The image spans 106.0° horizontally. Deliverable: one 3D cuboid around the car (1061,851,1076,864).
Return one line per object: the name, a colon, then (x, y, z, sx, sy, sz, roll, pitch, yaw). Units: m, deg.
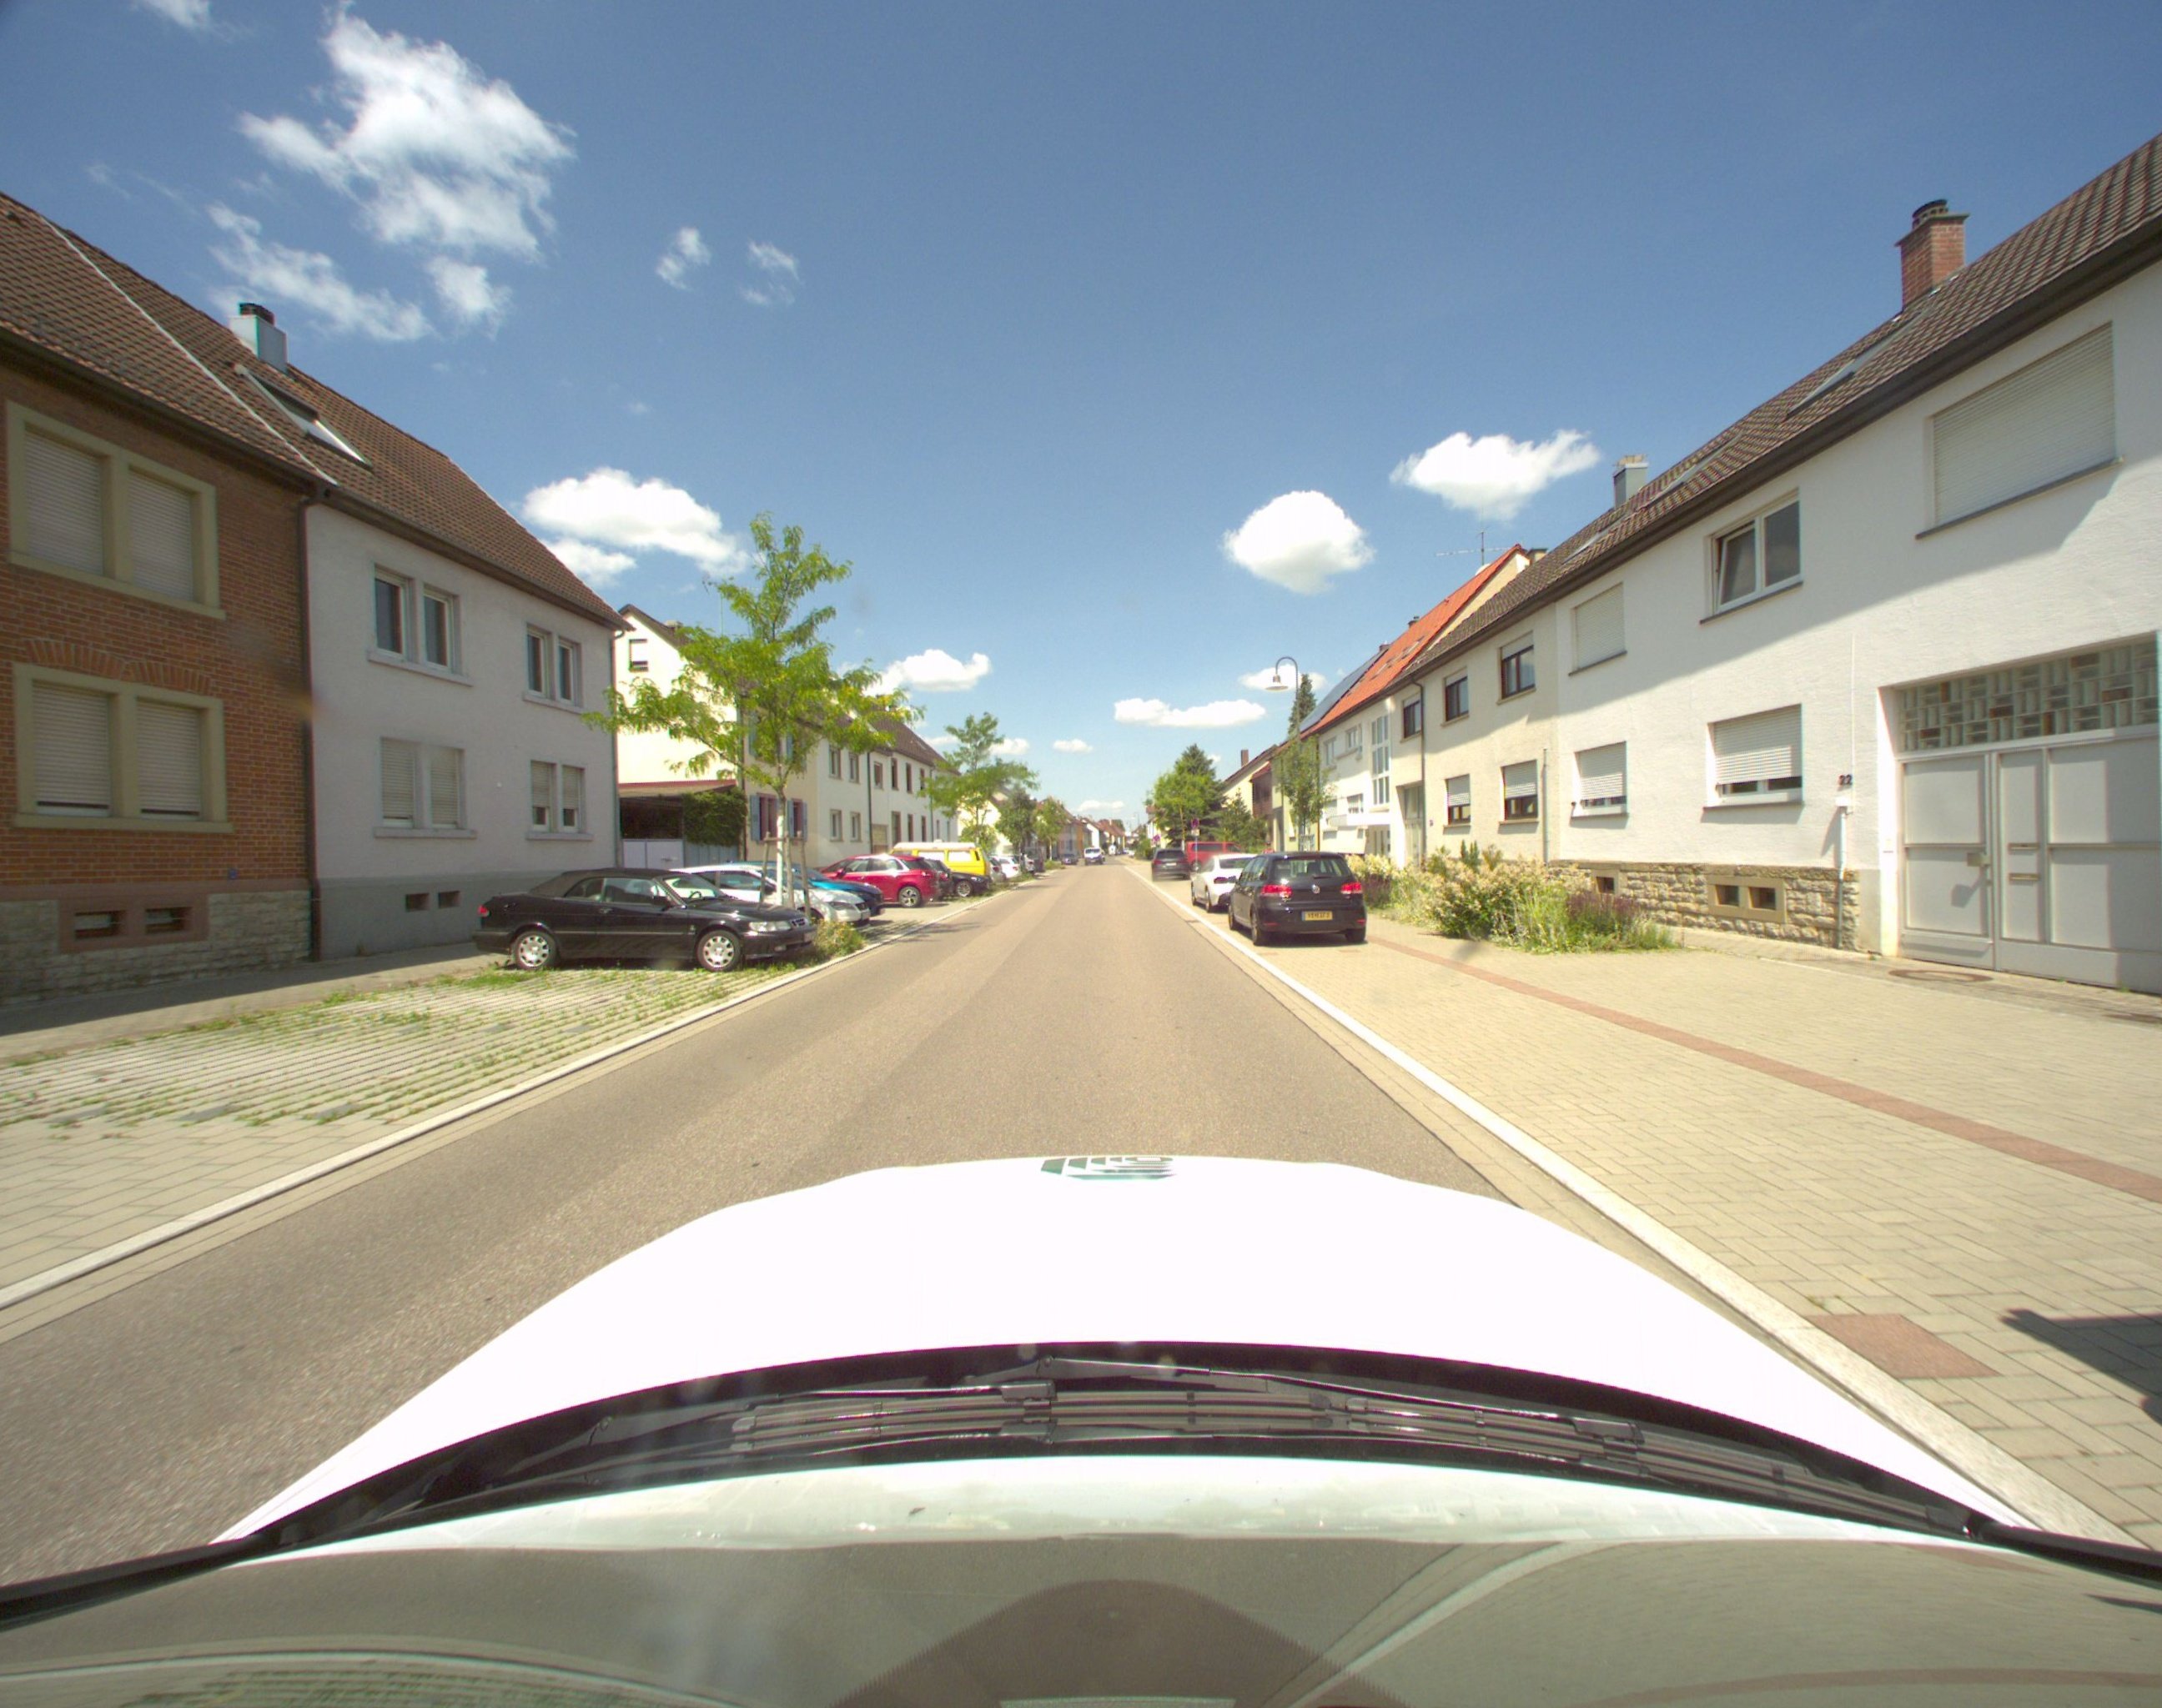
car: (-1.507, 0.431, 100.098, 1.811, 1.433, 4.138, 2, 1, -1)

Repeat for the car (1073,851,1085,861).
car: (-0.311, 0.332, 135.728, 1.803, 1.609, 4.002, 1, 0, 2)

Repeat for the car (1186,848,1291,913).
car: (3.927, 0.607, 21.113, 1.826, 1.465, 4.519, -1, 0, 0)

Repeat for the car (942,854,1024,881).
car: (-5.426, 0.754, 45.570, 4.277, 1.468, 1.775, -1, -1, 3)

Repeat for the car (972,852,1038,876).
car: (-4.854, 0.637, 52.442, 4.172, 1.568, 1.772, 0, -1, -2)

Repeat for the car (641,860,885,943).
car: (-6.103, 0.893, 15.985, 4.042, 1.478, 1.775, -1, 0, -1)

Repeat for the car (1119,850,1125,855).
car: (12.495, -0.496, 248.289, 1.683, 1.660, 3.777, 0, -1, 6)

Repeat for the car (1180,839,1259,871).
car: (8.610, 0.070, 51.009, 4.603, 1.893, 2.020, 0, -1, 0)

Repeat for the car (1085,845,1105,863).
car: (1.548, 0.000, 90.475, 2.015, 1.950, 4.899, -2, -1, 1)

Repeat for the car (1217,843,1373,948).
car: (3.533, 0.618, 14.179, 1.760, 1.529, 4.009, -1, 0, 2)

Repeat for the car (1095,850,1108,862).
car: (2.883, 0.243, 114.920, 1.756, 1.523, 4.049, -3, 0, 1)

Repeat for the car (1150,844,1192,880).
car: (4.525, 0.361, 41.453, 1.856, 1.635, 4.451, -4, 1, 4)

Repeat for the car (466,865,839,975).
car: (-6.116, 0.915, 11.998, 4.507, 1.425, 1.796, -1, 0, 1)

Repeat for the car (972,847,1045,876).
car: (-4.875, 0.497, 55.189, 4.683, 1.923, 1.938, 0, -1, 1)

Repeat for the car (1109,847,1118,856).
car: (8.707, -0.579, 219.035, 2.035, 2.312, 3.777, 0, -1, 6)

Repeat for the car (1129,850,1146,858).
car: (11.379, -0.021, 164.714, 3.510, 1.464, 1.629, 0, -1, 2)

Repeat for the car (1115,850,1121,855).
car: (10.913, -0.545, 240.850, 1.683, 1.504, 3.777, 0, 0, 6)

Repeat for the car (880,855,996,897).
car: (-5.283, 0.807, 30.417, 3.995, 1.459, 1.756, -1, 0, 1)

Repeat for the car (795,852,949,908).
car: (-6.370, 0.776, 25.121, 4.238, 1.611, 1.843, -1, 0, 1)

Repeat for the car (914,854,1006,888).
car: (-5.527, 0.772, 37.552, 4.067, 1.468, 1.749, -1, 0, -7)

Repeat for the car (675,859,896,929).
car: (-6.645, 0.871, 18.662, 4.392, 1.478, 1.774, -1, 0, -2)

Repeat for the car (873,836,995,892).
car: (-5.881, 0.397, 32.960, 4.492, 2.177, 1.926, -1, 0, 1)

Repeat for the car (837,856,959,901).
car: (-6.186, 0.806, 27.842, 3.780, 1.459, 1.754, -1, 0, -1)

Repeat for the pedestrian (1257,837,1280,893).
pedestrian: (6.038, 0.357, 26.277, 0.555, 1.749, 0.673, -2, -1, 2)
